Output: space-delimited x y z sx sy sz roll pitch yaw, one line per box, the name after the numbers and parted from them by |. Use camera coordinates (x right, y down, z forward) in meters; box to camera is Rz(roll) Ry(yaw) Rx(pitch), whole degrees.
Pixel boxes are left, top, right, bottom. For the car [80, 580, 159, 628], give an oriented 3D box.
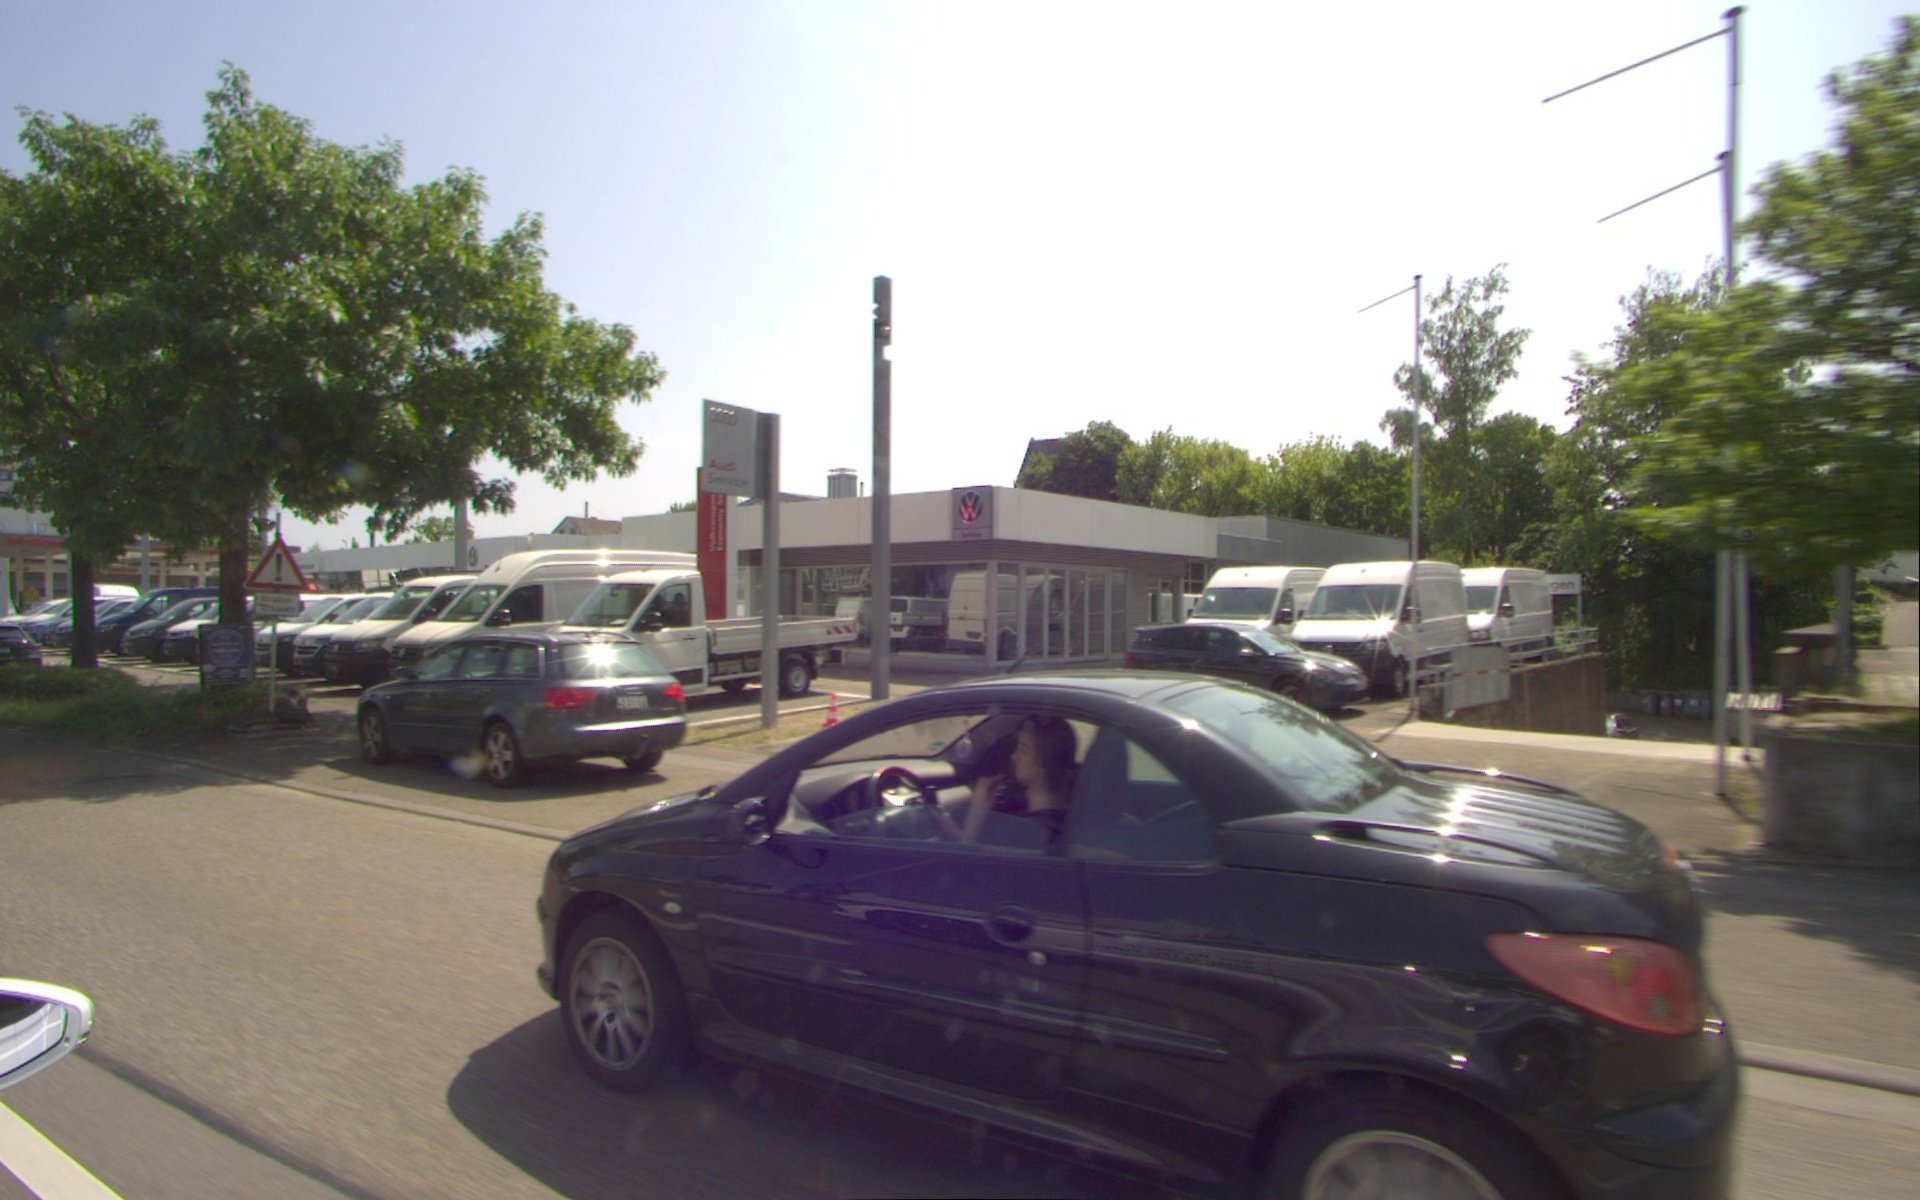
-49.516 0.201 58.933 6.930 2.711 2.247 1 1 39 | car

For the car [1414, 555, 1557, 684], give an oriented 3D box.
13.252 0.555 25.017 1.976 2.845 6.092 -2 -3 39 | car

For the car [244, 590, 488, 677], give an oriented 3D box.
-14.931 0.752 25.425 2.115 1.997 4.893 0 0 38 | car

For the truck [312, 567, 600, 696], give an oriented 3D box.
-10.810 0.582 21.862 2.086 2.469 5.224 1 1 39 | truck

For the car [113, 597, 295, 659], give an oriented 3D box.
-25.410 0.882 33.818 1.926 1.876 4.550 1 1 37 | car

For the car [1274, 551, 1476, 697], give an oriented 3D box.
8.620 0.550 20.443 2.096 2.560 5.860 -2 -3 40 | car

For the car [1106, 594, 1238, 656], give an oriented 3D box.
7.191 0.895 34.096 3.947 1.994 1.942 -2 -3 35 | car

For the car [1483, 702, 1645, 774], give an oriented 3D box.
18.292 4.114 30.405 3.955 1.794 1.985 -2 -3 41 | car

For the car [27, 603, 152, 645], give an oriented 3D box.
-34.547 0.964 39.785 1.698 1.590 3.611 0 -2 43 | car

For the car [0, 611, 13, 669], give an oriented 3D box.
-28.203 1.108 27.850 5.096 1.551 1.952 0 2 38 | car

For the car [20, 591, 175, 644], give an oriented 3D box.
-36.130 0.672 42.062 1.934 2.041 4.624 1 2 36 | car

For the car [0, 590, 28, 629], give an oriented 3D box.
-52.629 0.515 54.487 5.095 2.049 1.987 0 -1 38 | car

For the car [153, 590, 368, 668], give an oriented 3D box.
-21.501 0.811 30.995 2.014 2.125 5.044 0 1 37 | car

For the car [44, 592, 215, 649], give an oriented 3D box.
-32.062 0.813 38.784 1.978 2.010 4.769 3 0 38 | car

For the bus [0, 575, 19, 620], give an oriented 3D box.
-71.337 -0.276 73.190 12.143 3.119 2.790 2 0 42 | bus

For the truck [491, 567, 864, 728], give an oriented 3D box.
-4.711 0.662 17.830 2.339 2.368 6.218 1 1 39 | truck

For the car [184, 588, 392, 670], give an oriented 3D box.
-19.279 0.776 28.914 2.171 2.041 4.488 -1 1 39 | car

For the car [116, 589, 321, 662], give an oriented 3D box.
-23.671 0.716 32.136 2.101 2.143 4.881 1 1 37 | car

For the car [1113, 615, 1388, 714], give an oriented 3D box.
4.978 1.092 17.519 4.271 1.527 1.822 -3 -3 42 | car

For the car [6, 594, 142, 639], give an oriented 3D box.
-38.551 0.695 43.665 1.858 1.804 4.135 -2 0 37 | car

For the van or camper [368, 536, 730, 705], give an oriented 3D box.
-8.141 0.366 20.732 2.246 2.936 6.772 1 0 37 | van or camper

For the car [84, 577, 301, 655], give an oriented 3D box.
-27.253 0.639 35.774 2.179 2.555 5.818 -2 -3 40 | car

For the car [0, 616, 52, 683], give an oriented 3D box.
-23.025 1.119 23.395 4.378 1.454 1.677 0 0 34 | car

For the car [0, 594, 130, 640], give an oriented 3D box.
-40.259 0.740 44.735 1.833 1.913 4.539 -1 0 36 | car

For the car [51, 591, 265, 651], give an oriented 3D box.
-29.675 0.836 37.258 2.232 2.039 5.870 0 -2 39 | car

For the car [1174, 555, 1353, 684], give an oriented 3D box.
6.997 0.508 22.681 2.013 2.568 5.261 -2 -3 39 | car

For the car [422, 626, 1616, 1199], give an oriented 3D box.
0.015 0.857 3.390 3.607 1.443 1.598 0 -3 31 | car

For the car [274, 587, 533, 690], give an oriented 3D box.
-12.950 0.828 23.625 2.131 2.141 4.931 0 0 37 | car

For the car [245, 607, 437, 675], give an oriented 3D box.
-16.747 1.039 27.278 1.886 1.491 4.013 1 3 31 | car

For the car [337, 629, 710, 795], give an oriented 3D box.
-4.790 1.050 10.759 4.264 1.424 1.792 -1 -2 37 | car
